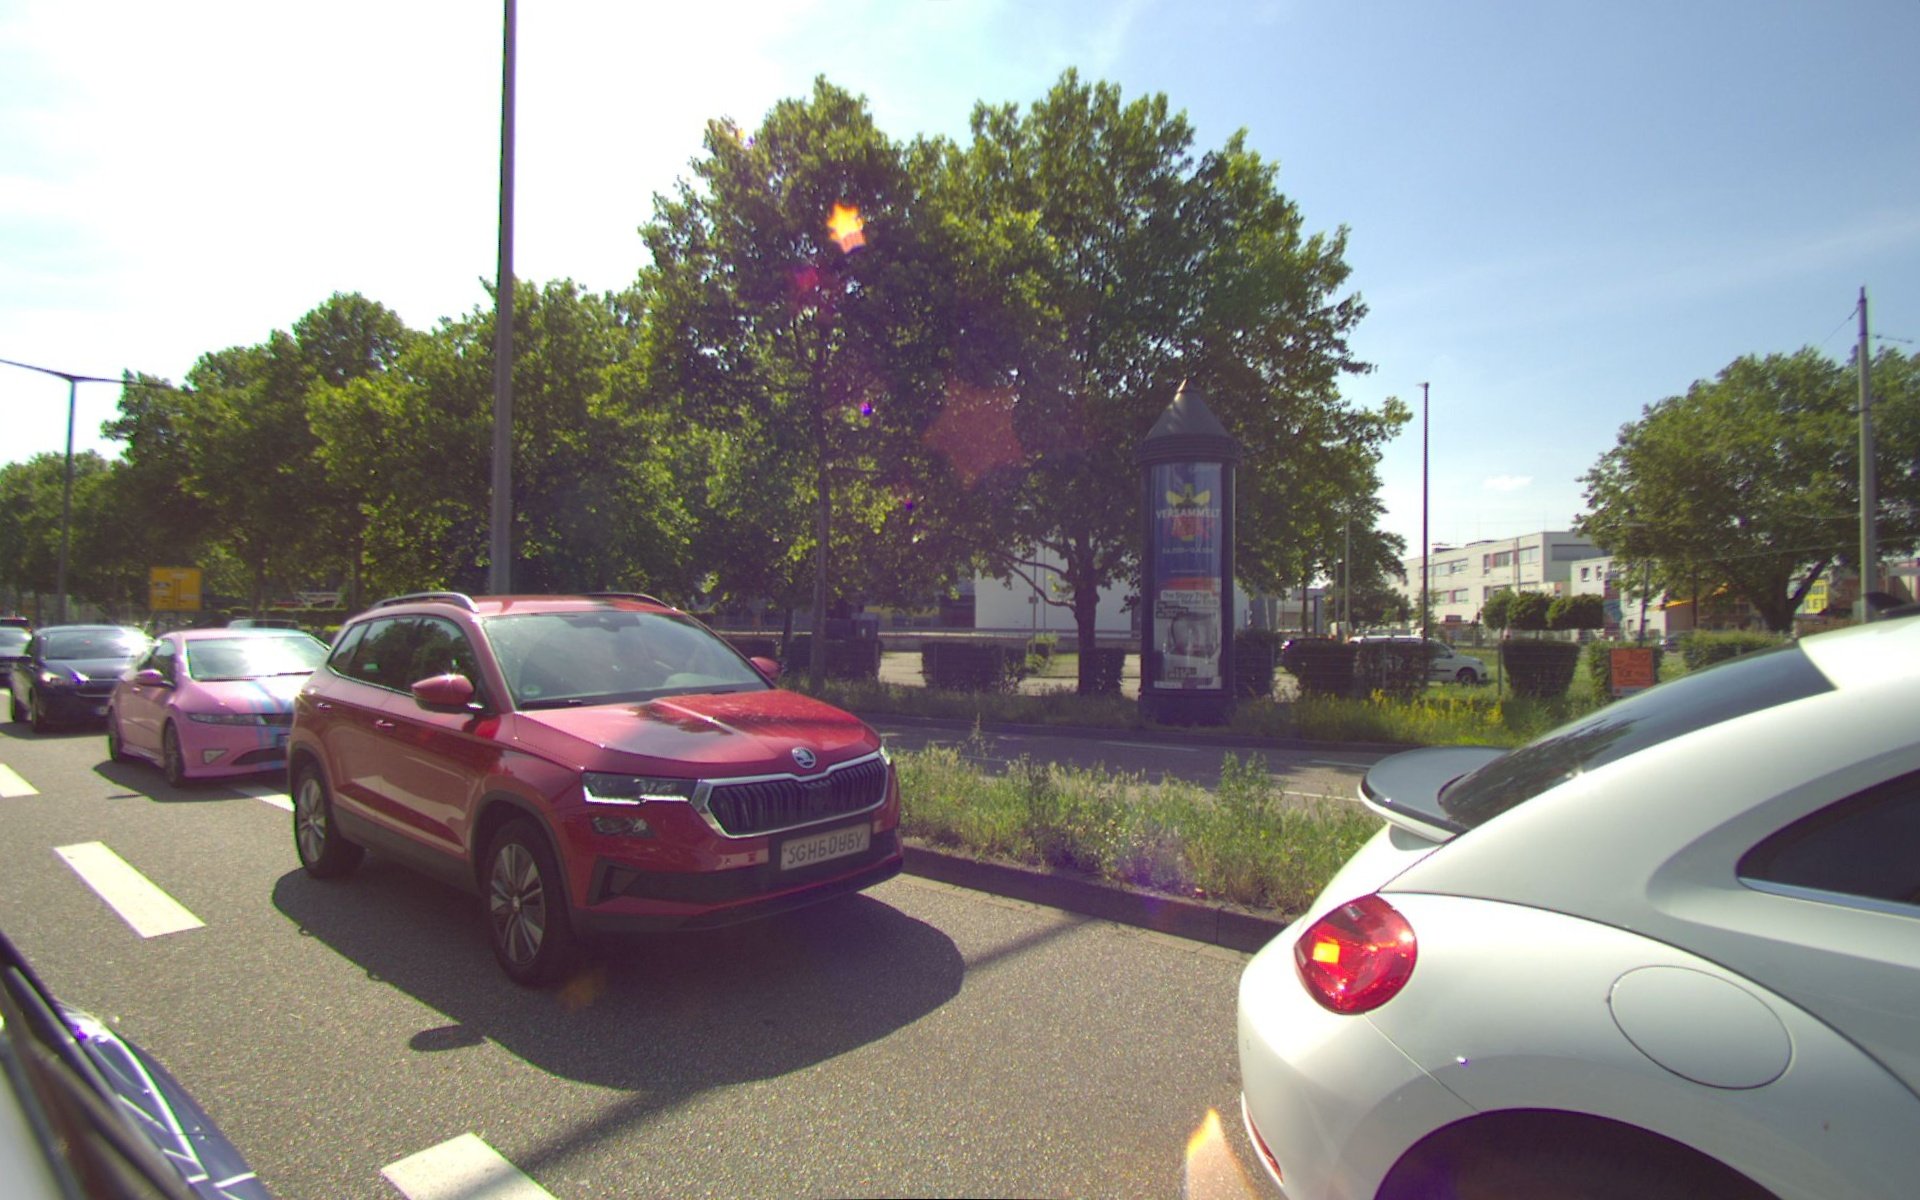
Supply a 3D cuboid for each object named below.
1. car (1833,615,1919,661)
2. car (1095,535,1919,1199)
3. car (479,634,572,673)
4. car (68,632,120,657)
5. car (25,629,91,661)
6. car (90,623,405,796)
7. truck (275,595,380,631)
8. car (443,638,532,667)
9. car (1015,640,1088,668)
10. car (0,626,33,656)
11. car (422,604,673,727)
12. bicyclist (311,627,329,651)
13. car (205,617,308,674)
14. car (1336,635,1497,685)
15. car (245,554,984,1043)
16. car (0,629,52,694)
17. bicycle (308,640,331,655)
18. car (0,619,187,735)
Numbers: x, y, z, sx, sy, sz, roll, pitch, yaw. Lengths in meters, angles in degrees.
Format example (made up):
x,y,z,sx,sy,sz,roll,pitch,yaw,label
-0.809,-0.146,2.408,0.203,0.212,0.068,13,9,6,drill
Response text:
x,y,z,sx,sy,sz,roll,pitch,yaw,label
31.297,1.248,33.207,1.975,1.431,4.025,0,-2,5,car
2.394,0.648,1.256,4.133,1.490,1.748,-2,-1,41,car
-22.620,2.754,52.721,3.941,1.837,2.158,1,-1,-45,car
-52.531,2.665,61.365,4.357,1.409,1.768,-1,-4,42,car
-46.353,2.289,51.984,4.680,1.542,1.972,-2,-3,42,car
-7.558,0.978,10.545,4.470,1.400,1.684,-2,-1,41,car
-61.455,1.316,98.418,8.877,3.421,2.669,0,-2,6,truck
-25.370,2.810,54.446,1.772,1.475,3.944,-2,-3,42,car
5.400,3.187,59.525,3.932,1.516,1.810,0,-4,-33,car
-63.696,2.722,67.440,5.415,1.898,2.095,-2,-3,41,car
-6.822,1.009,16.568,4.393,1.764,1.845,-1,-3,38,car
-40.022,2.455,63.286,0.941,1.496,0.674,-1,-3,42,bicyclist
-26.757,1.706,38.422,5.211,2.029,1.972,-2,-3,42,car
16.232,2.135,36.191,4.780,1.678,1.998,1,-3,3,car
-2.193,0.712,5.521,4.591,1.605,1.764,-2,-2,41,car
-24.466,1.522,25.561,4.214,1.518,1.803,-2,-2,41,car
-40.032,2.961,63.275,1.925,0.873,0.682,-1,-3,42,bicycle
-13.140,1.073,15.234,4.046,1.494,1.609,-2,-1,41,car
